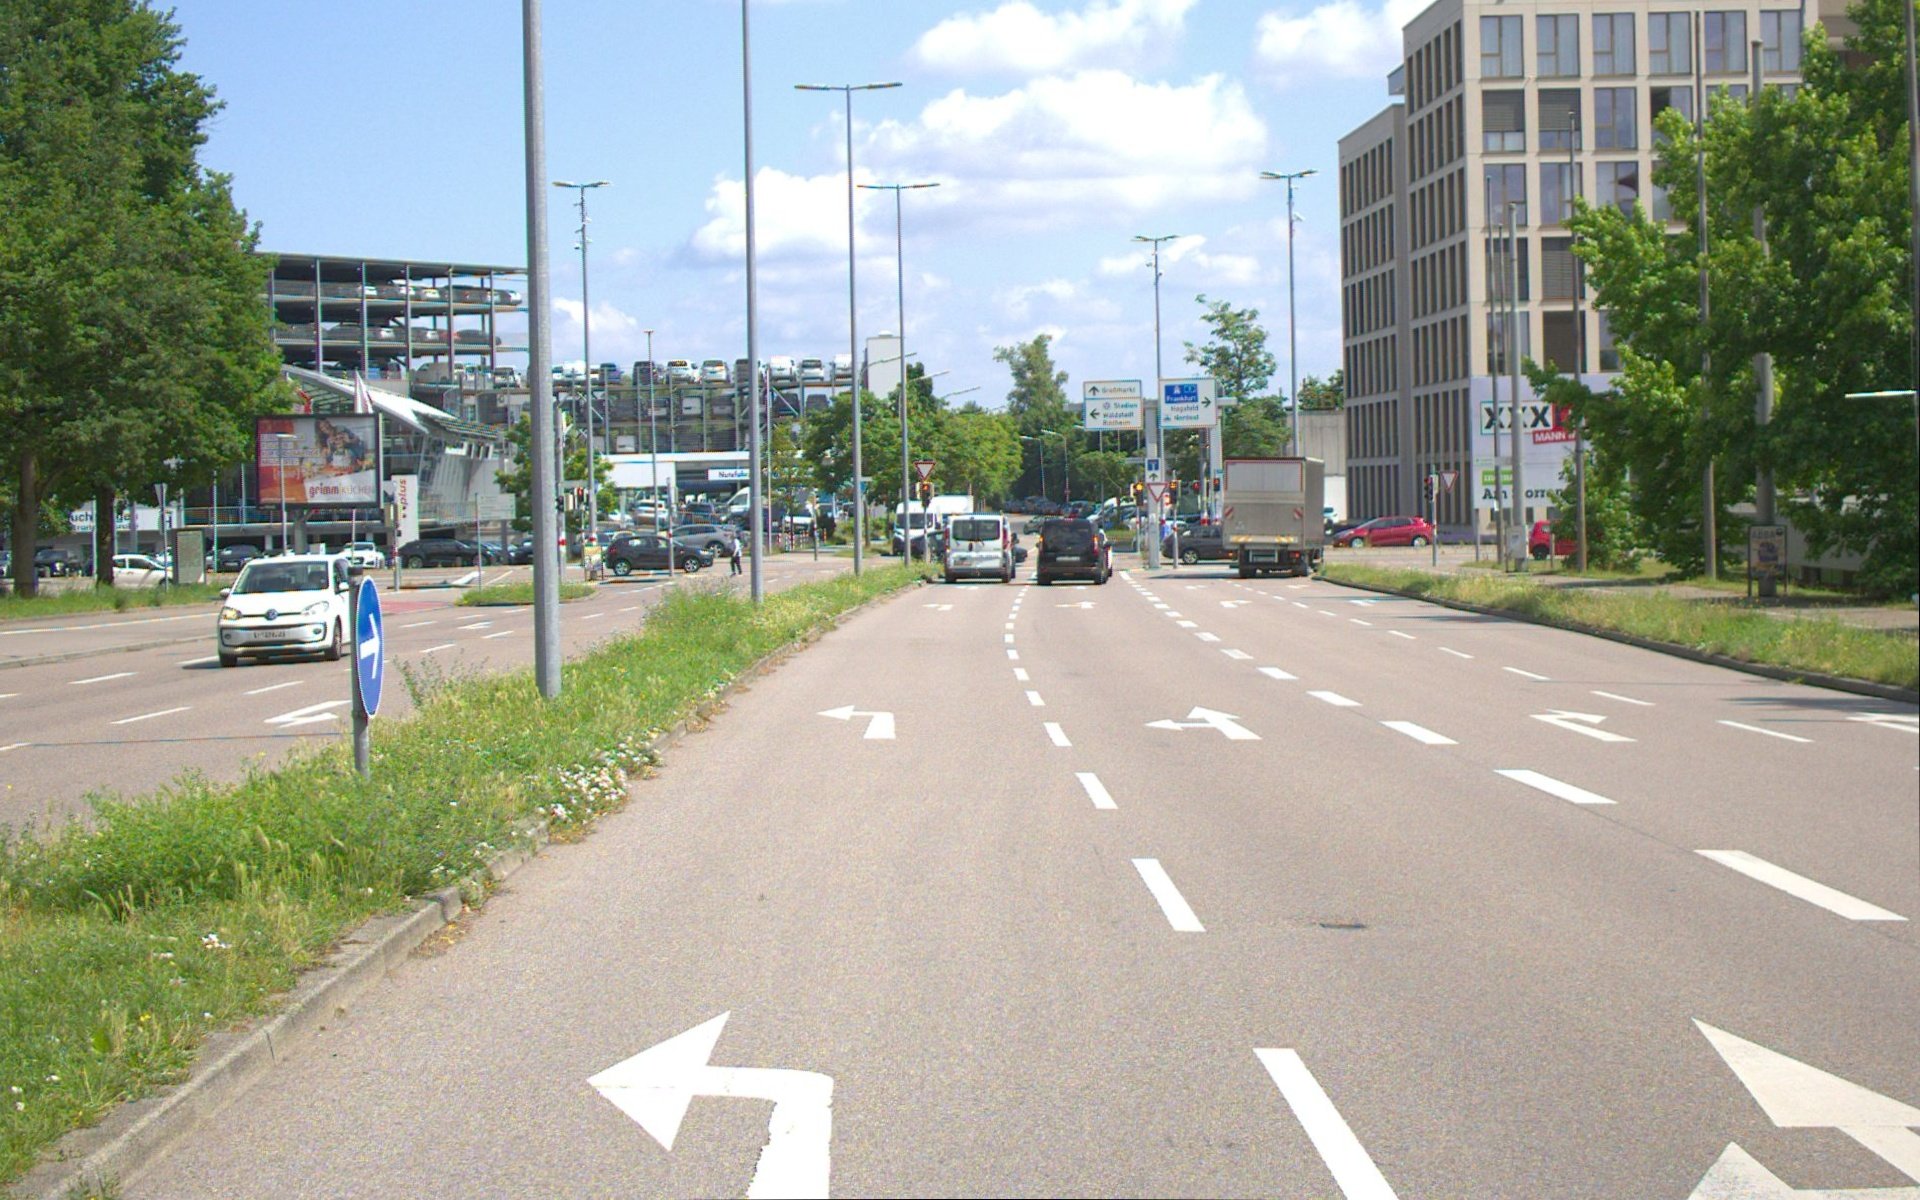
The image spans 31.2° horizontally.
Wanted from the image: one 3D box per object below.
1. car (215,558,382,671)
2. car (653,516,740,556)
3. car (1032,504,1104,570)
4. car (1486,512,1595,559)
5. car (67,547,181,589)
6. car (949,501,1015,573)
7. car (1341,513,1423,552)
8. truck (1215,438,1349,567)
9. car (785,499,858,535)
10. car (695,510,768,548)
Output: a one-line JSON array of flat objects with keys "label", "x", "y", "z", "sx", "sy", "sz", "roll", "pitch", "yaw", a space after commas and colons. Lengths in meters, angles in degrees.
[{"label": "car", "x": -9.244, "y": 0.173, "z": 48.265, "sx": 1.643, "sy": 1.424, "sz": 3.670, "roll": -2, "pitch": 1, "yaw": -1}, {"label": "car", "x": -12.222, "y": -2.966, "z": 159.528, "sx": 3.861, "sy": 1.633, "sz": 1.858, "roll": -2, "pitch": 2, "yaw": -2}, {"label": "car", "x": 3.040, "y": -1.782, "z": 95.922, "sx": 1.820, "sy": 1.802, "sz": 4.000, "roll": 0, "pitch": 2, "yaw": 5}, {"label": "car", "x": 21.697, "y": -2.420, "z": 128.648, "sx": 3.988, "sy": 1.656, "sz": 2.000, "roll": 0, "pitch": 2, "yaw": 9}, {"label": "car", "x": -31.186, "y": -1.196, "z": 128.354, "sx": 3.850, "sy": 1.461, "sz": 1.696, "roll": -1, "pitch": 2, "yaw": -1}, {"label": "car", "x": 0.615, "y": -1.837, "z": 99.624, "sx": 1.856, "sy": 2.011, "sz": 4.001, "roll": 0, "pitch": 2, "yaw": 0}, {"label": "car", "x": 17.706, "y": -2.840, "z": 144.328, "sx": 3.272, "sy": 1.400, "sz": 1.334, "roll": -1, "pitch": 10, "yaw": 0}, {"label": "truck", "x": 10.407, "y": -3.173, "z": 110.175, "sx": 3.131, "sy": 3.927, "sz": 8.854, "roll": 0, "pitch": 2, "yaw": 13}, {"label": "car", "x": -7.697, "y": -4.617, "z": 191.028, "sx": 3.986, "sy": 1.919, "sz": 1.827, "roll": -1, "pitch": 1, "yaw": -4}, {"label": "car", "x": -11.263, "y": -3.518, "z": 169.612, "sx": 3.508, "sy": 1.707, "sz": 1.604, "roll": -2, "pitch": 2, "yaw": -2}]
